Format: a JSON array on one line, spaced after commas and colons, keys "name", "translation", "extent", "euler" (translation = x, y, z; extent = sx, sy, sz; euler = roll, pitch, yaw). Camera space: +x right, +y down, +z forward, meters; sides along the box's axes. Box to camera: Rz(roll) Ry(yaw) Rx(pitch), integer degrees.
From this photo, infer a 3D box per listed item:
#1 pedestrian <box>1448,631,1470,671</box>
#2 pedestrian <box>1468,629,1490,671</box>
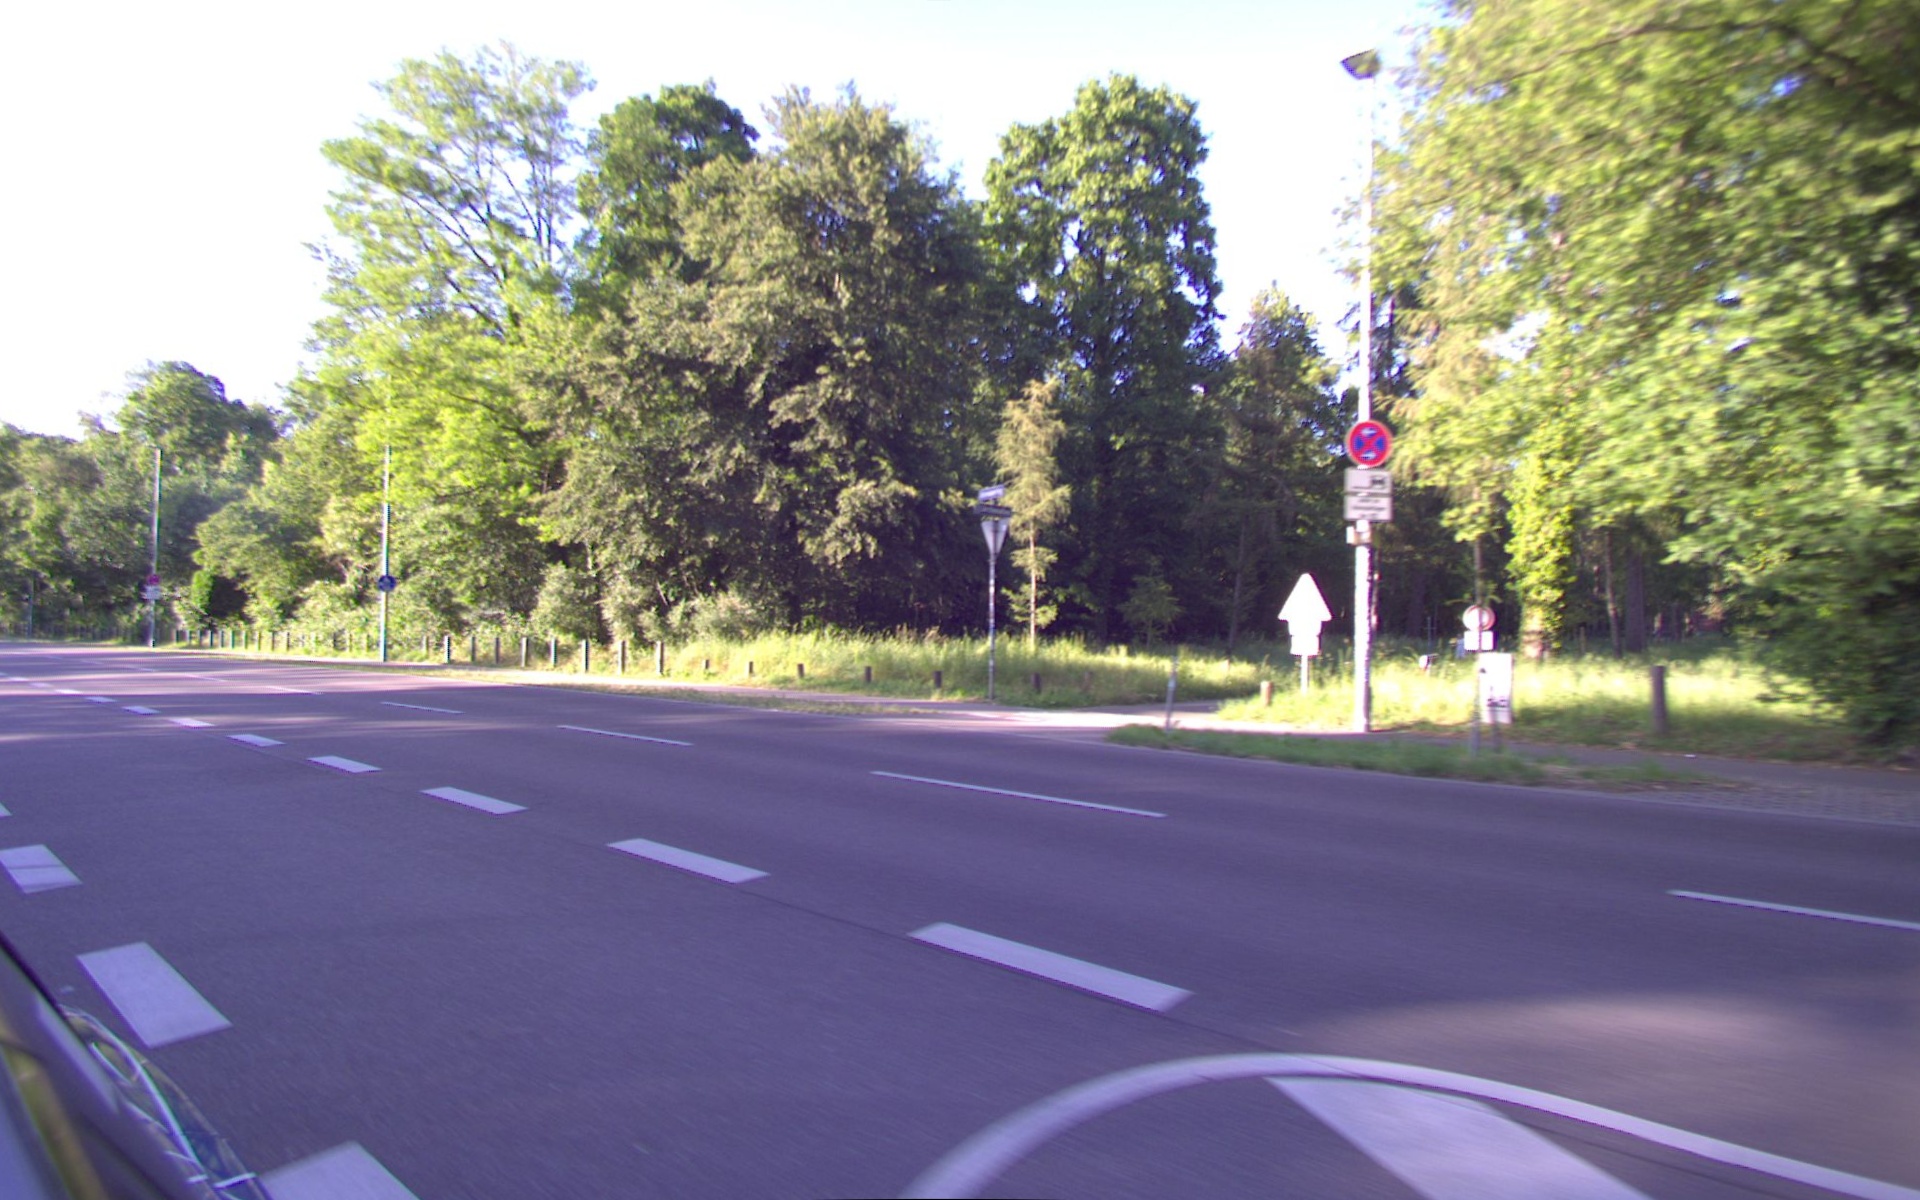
[{"name": "pedestrian", "translation": [20.890, 2.121, 42.379], "extent": [0.715, 1.623, 0.538], "euler": [-2, -2, 41]}, {"name": "pedestrian", "translation": [21.464, 2.065, 41.855], "extent": [0.715, 1.694, 0.538], "euler": [-2, -2, 41]}]
